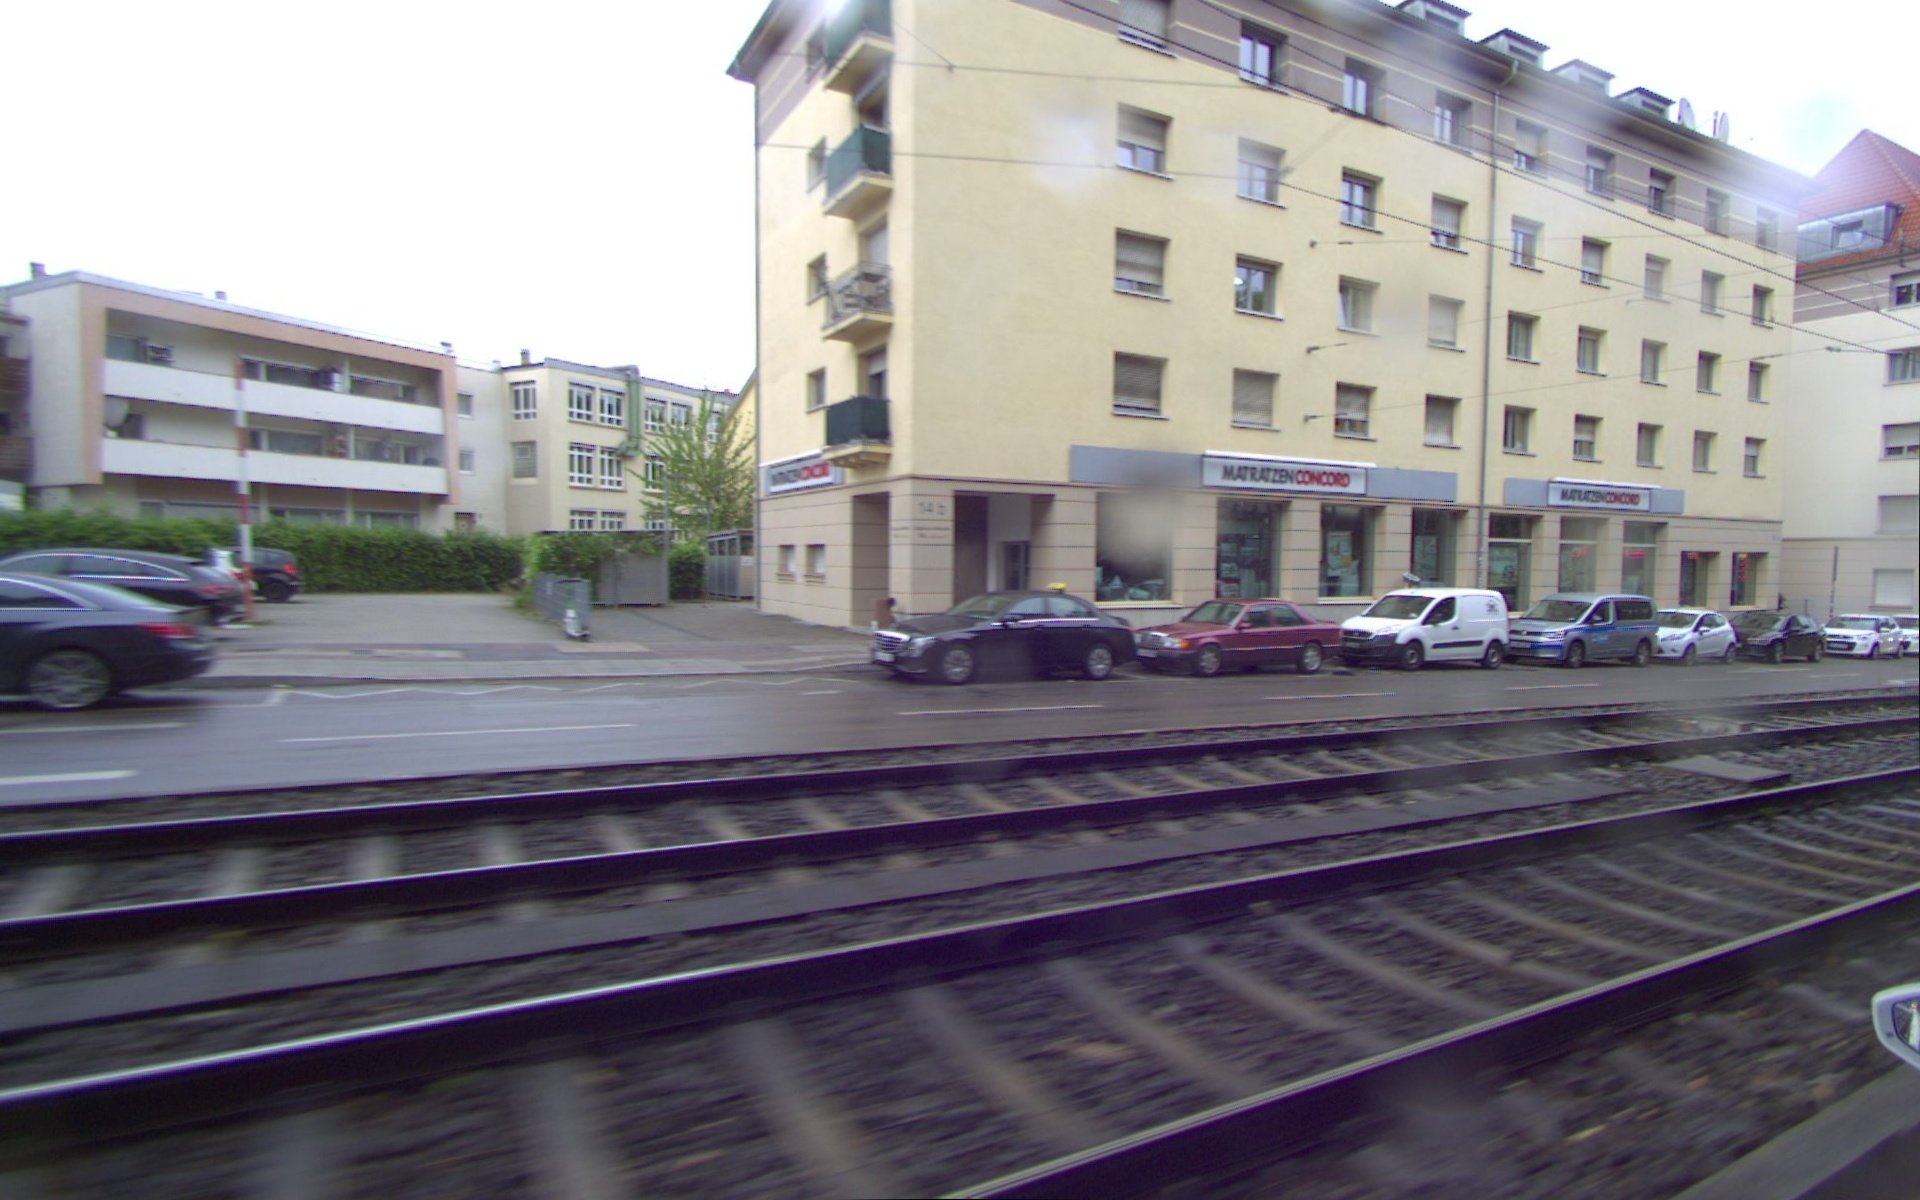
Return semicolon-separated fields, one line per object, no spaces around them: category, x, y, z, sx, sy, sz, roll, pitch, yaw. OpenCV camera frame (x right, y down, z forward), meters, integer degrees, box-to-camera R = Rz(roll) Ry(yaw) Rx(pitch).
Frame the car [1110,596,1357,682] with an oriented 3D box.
car;5.460;0.725;19.880;4.773;1.451;1.843;1;3;-29

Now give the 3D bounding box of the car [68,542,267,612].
car;-21.147;-0.605;26.997;3.850;1.655;1.663;2;2;-25

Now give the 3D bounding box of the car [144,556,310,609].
car;-21.443;-0.509;29.553;3.695;1.360;1.661;2;2;-28

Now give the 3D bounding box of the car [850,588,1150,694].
car;0.771;0.629;16.926;4.941;1.528;1.839;1;1;-35

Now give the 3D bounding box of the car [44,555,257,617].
car;-19.830;-0.339;24.825;3.858;1.419;1.659;1;2;-30

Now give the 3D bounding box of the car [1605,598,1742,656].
car;19.911;0.743;28.000;4.003;1.458;1.683;-1;-2;-32

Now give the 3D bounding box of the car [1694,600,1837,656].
car;24.464;0.816;30.492;4.527;1.519;1.805;0;3;-30

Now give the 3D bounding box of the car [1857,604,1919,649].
car;34.583;0.956;36.702;3.502;1.469;1.699;1;3;-32

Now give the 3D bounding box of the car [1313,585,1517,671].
car;10.265;0.599;22.610;4.404;1.740;1.859;1;1;-28

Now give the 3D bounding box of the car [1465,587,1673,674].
car;15.517;0.723;25.526;5.391;1.931;1.985;0;3;-28

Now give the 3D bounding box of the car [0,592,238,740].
car;-10.287;0.636;10.259;4.569;1.415;1.671;1;1;-31

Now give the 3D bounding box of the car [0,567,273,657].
car;-13.860;0.157;16.057;4.413;1.321;1.866;0;2;-23

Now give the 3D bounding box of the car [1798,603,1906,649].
car;30.599;0.889;34.439;3.892;1.415;1.694;1;3;-32

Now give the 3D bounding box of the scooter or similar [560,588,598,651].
scooter or similar;-7.338;0.353;19.307;0.375;1.127;1.282;0;3;-35

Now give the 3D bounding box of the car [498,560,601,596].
car;-17.228;-0.954;42.356;1.642;1.419;3.898;3;3;27
